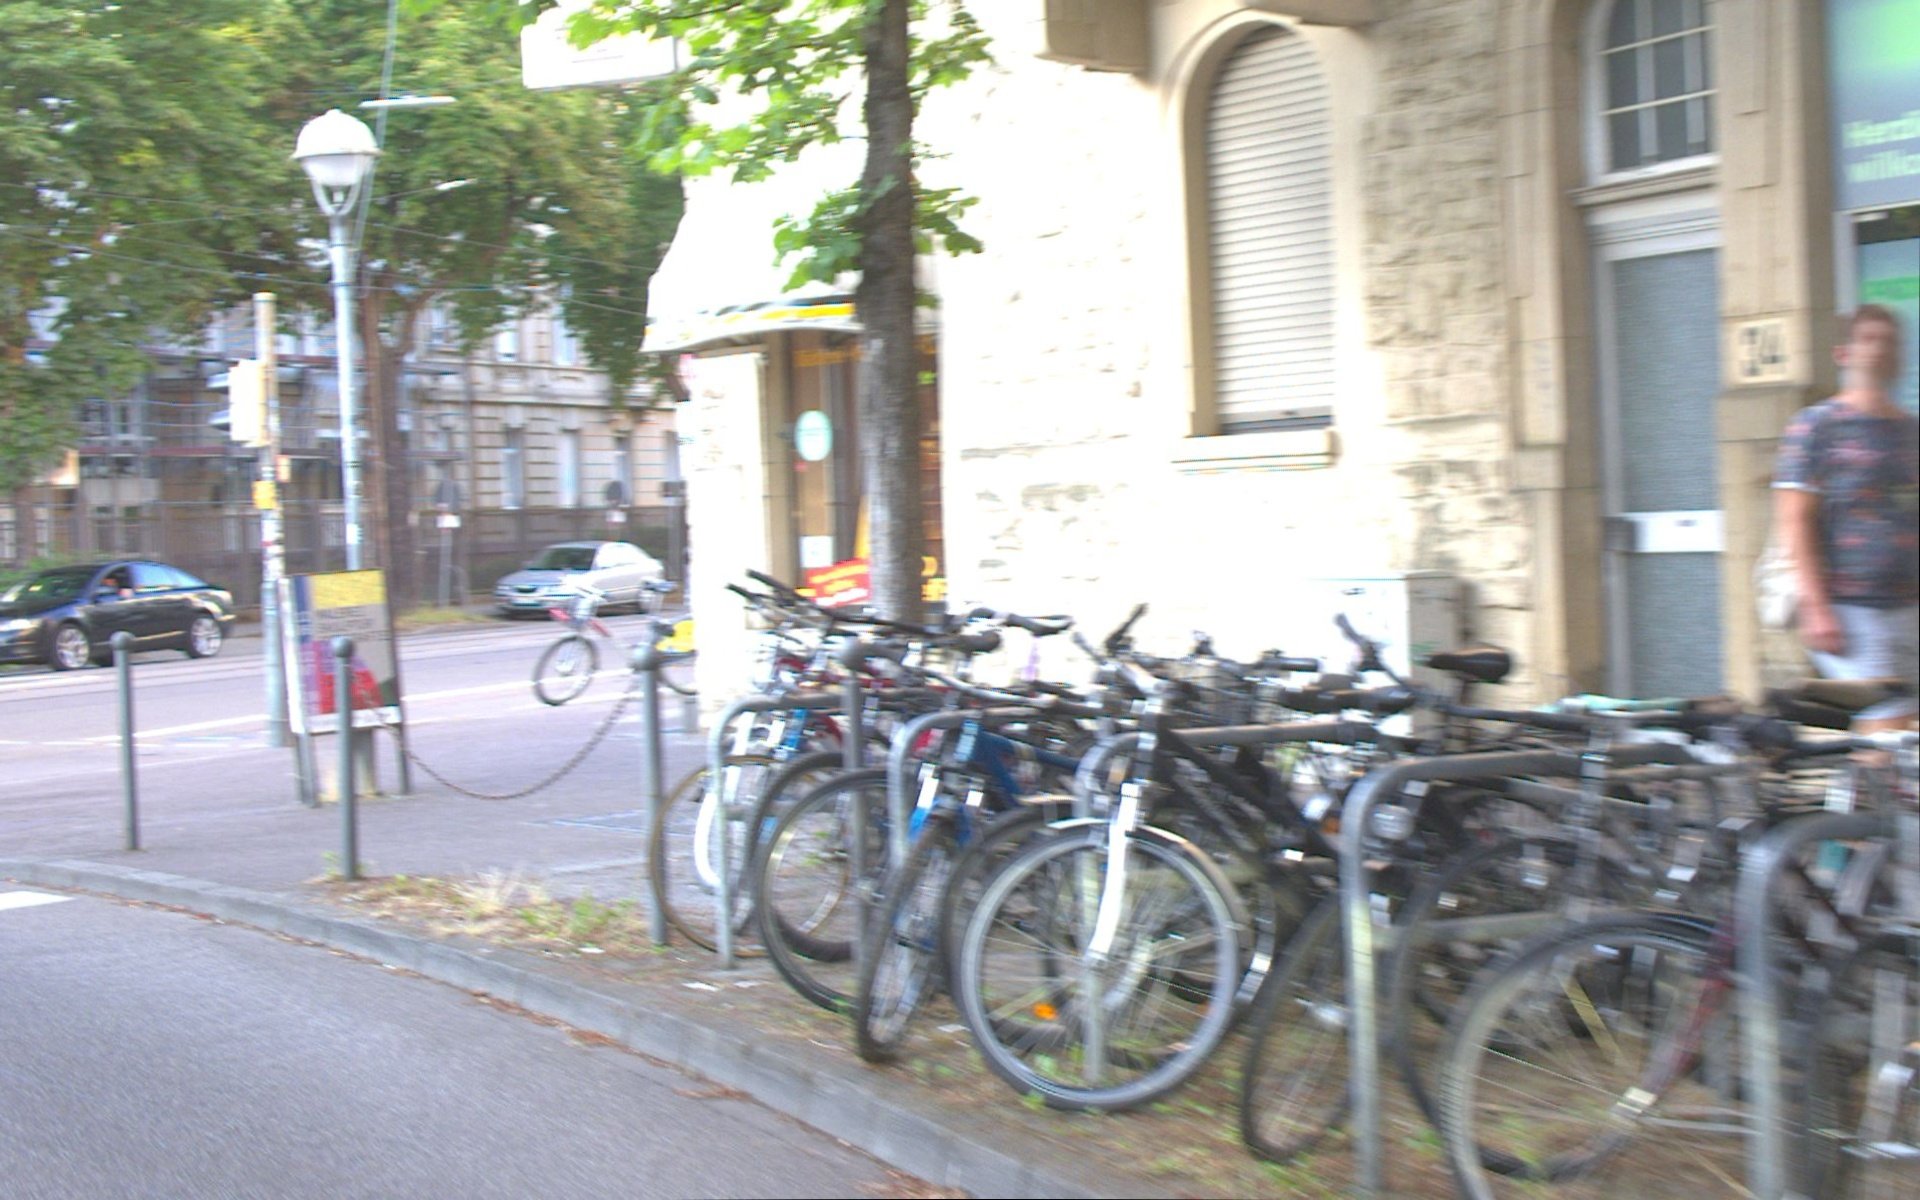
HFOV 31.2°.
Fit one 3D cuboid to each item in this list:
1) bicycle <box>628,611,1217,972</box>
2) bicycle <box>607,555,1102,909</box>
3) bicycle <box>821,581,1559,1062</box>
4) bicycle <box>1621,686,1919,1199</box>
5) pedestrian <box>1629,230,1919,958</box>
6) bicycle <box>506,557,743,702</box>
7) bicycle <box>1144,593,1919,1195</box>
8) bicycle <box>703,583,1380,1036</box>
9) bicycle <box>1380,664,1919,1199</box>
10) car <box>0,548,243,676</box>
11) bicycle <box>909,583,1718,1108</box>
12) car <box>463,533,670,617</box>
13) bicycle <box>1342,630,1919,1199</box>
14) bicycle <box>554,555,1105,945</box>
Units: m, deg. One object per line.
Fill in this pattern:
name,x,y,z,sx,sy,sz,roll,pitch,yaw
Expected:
bicycle,-0.113,0.598,11.428,1.801,1.034,0.700,-3,2,-29
bicycle,-0.399,0.481,13.401,1.787,1.232,0.651,-3,2,-30
bicycle,0.634,0.570,9.475,1.885,1.158,0.641,-3,1,-18
bicycle,1.973,0.673,5.702,1.669,1.074,0.486,-3,1,-19
pedestrian,2.785,-0.052,10.495,1.010,2.078,1.061,-3,2,-16
bicycle,-2.848,0.236,29.134,1.871,1.126,0.732,-3,1,-14
bicycle,1.274,0.608,7.440,1.669,1.124,0.486,-3,8,-11
bicycle,0.258,0.570,10.127,1.885,1.158,0.640,-3,2,-29
bicycle,1.630,0.672,6.128,1.669,1.074,0.486,-3,1,-19
car,-11.823,0.140,45.964,1.946,1.504,4.626,-2,2,25
bicycle,0.897,0.578,8.760,1.885,1.158,0.705,-3,1,-18
car,-7.522,-0.497,66.179,2.006,1.422,4.627,-2,1,21
bicycle,1.697,0.629,7.226,1.669,1.074,0.486,-3,1,-12
bicycle,-0.455,0.494,12.224,1.787,1.232,0.700,-3,2,-29
